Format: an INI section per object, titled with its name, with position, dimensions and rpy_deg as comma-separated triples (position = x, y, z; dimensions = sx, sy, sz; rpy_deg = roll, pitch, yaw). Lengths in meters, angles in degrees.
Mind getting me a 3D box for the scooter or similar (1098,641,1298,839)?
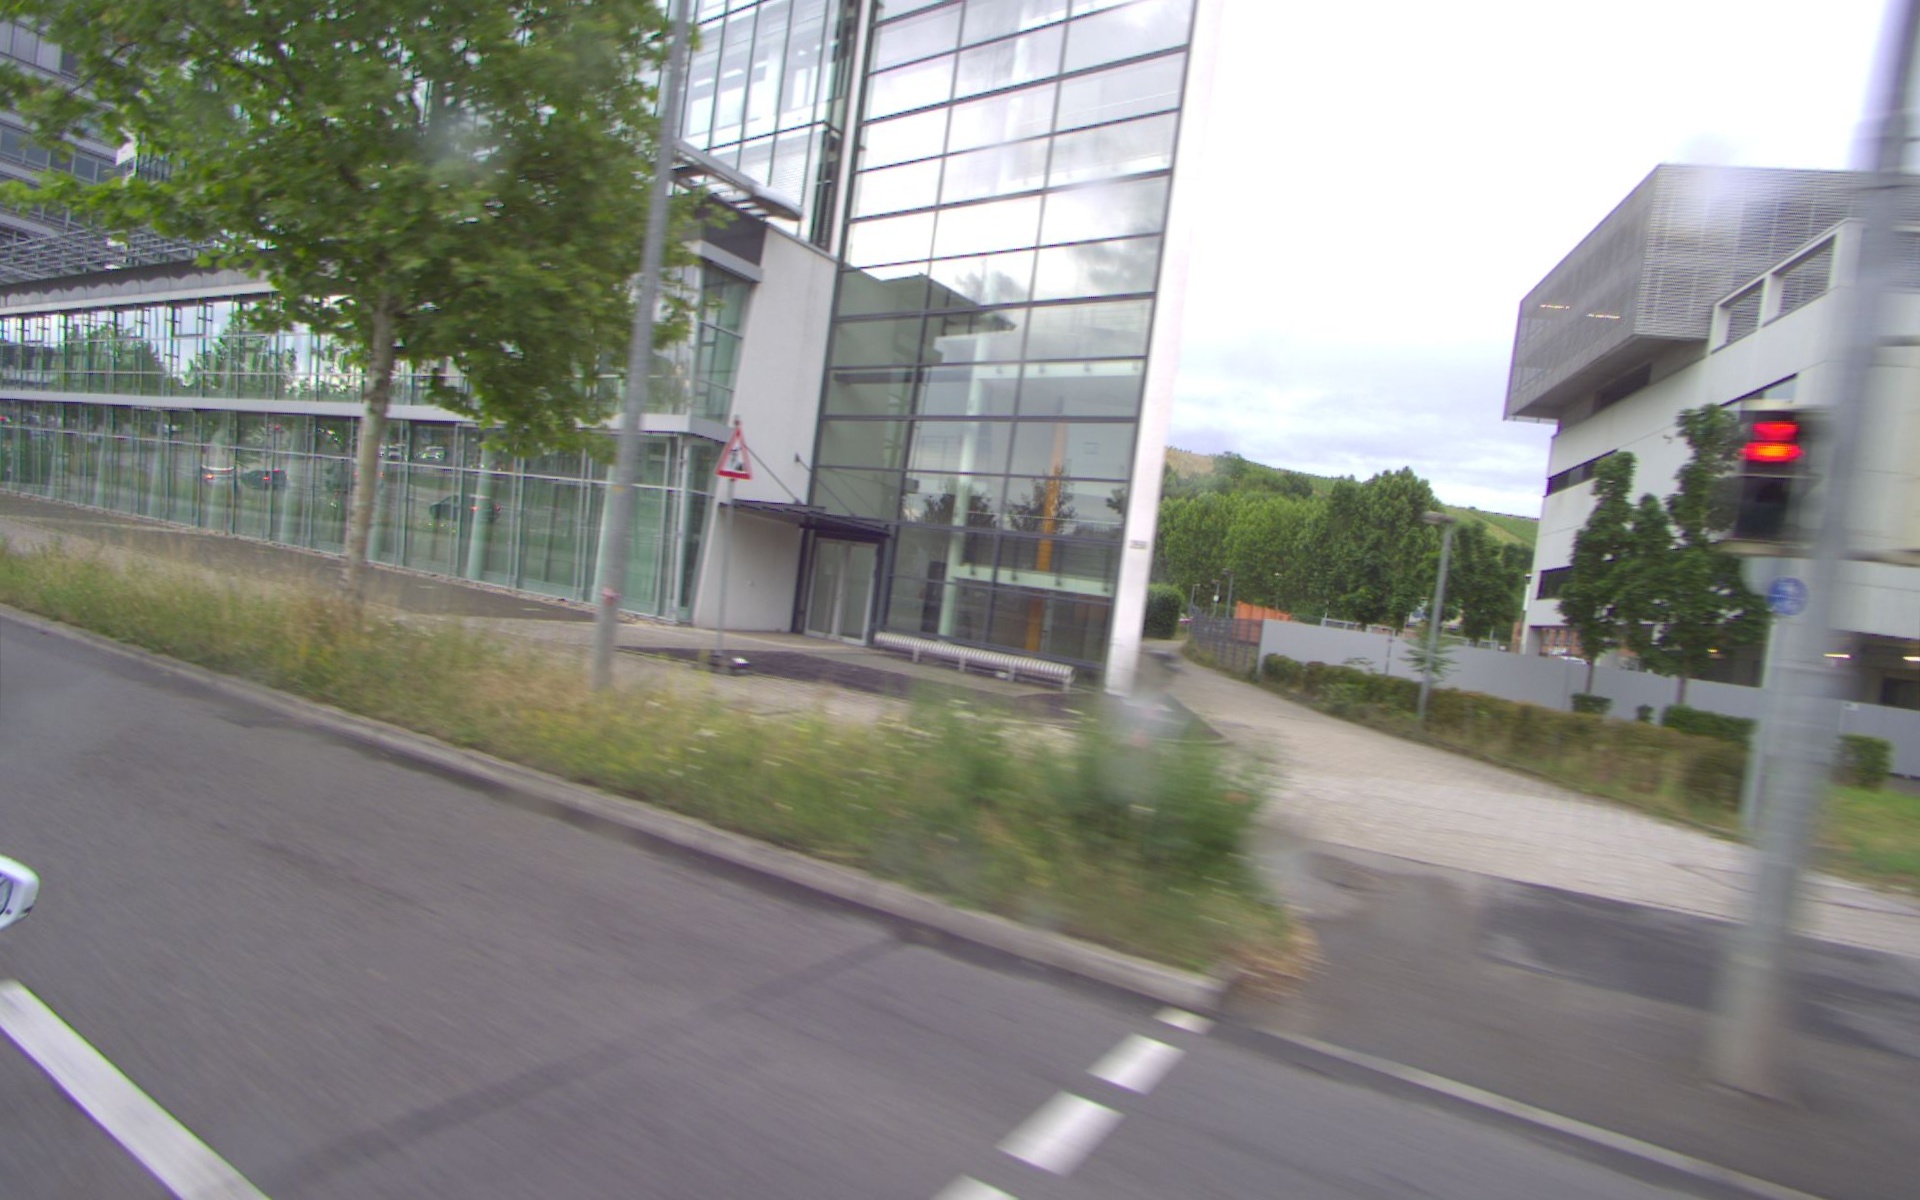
[scooter or similar]
position = 1.812, 1.027, 7.703
dimensions = 1.313, 1.280, 0.458
rpy_deg = 6, 2, 23
